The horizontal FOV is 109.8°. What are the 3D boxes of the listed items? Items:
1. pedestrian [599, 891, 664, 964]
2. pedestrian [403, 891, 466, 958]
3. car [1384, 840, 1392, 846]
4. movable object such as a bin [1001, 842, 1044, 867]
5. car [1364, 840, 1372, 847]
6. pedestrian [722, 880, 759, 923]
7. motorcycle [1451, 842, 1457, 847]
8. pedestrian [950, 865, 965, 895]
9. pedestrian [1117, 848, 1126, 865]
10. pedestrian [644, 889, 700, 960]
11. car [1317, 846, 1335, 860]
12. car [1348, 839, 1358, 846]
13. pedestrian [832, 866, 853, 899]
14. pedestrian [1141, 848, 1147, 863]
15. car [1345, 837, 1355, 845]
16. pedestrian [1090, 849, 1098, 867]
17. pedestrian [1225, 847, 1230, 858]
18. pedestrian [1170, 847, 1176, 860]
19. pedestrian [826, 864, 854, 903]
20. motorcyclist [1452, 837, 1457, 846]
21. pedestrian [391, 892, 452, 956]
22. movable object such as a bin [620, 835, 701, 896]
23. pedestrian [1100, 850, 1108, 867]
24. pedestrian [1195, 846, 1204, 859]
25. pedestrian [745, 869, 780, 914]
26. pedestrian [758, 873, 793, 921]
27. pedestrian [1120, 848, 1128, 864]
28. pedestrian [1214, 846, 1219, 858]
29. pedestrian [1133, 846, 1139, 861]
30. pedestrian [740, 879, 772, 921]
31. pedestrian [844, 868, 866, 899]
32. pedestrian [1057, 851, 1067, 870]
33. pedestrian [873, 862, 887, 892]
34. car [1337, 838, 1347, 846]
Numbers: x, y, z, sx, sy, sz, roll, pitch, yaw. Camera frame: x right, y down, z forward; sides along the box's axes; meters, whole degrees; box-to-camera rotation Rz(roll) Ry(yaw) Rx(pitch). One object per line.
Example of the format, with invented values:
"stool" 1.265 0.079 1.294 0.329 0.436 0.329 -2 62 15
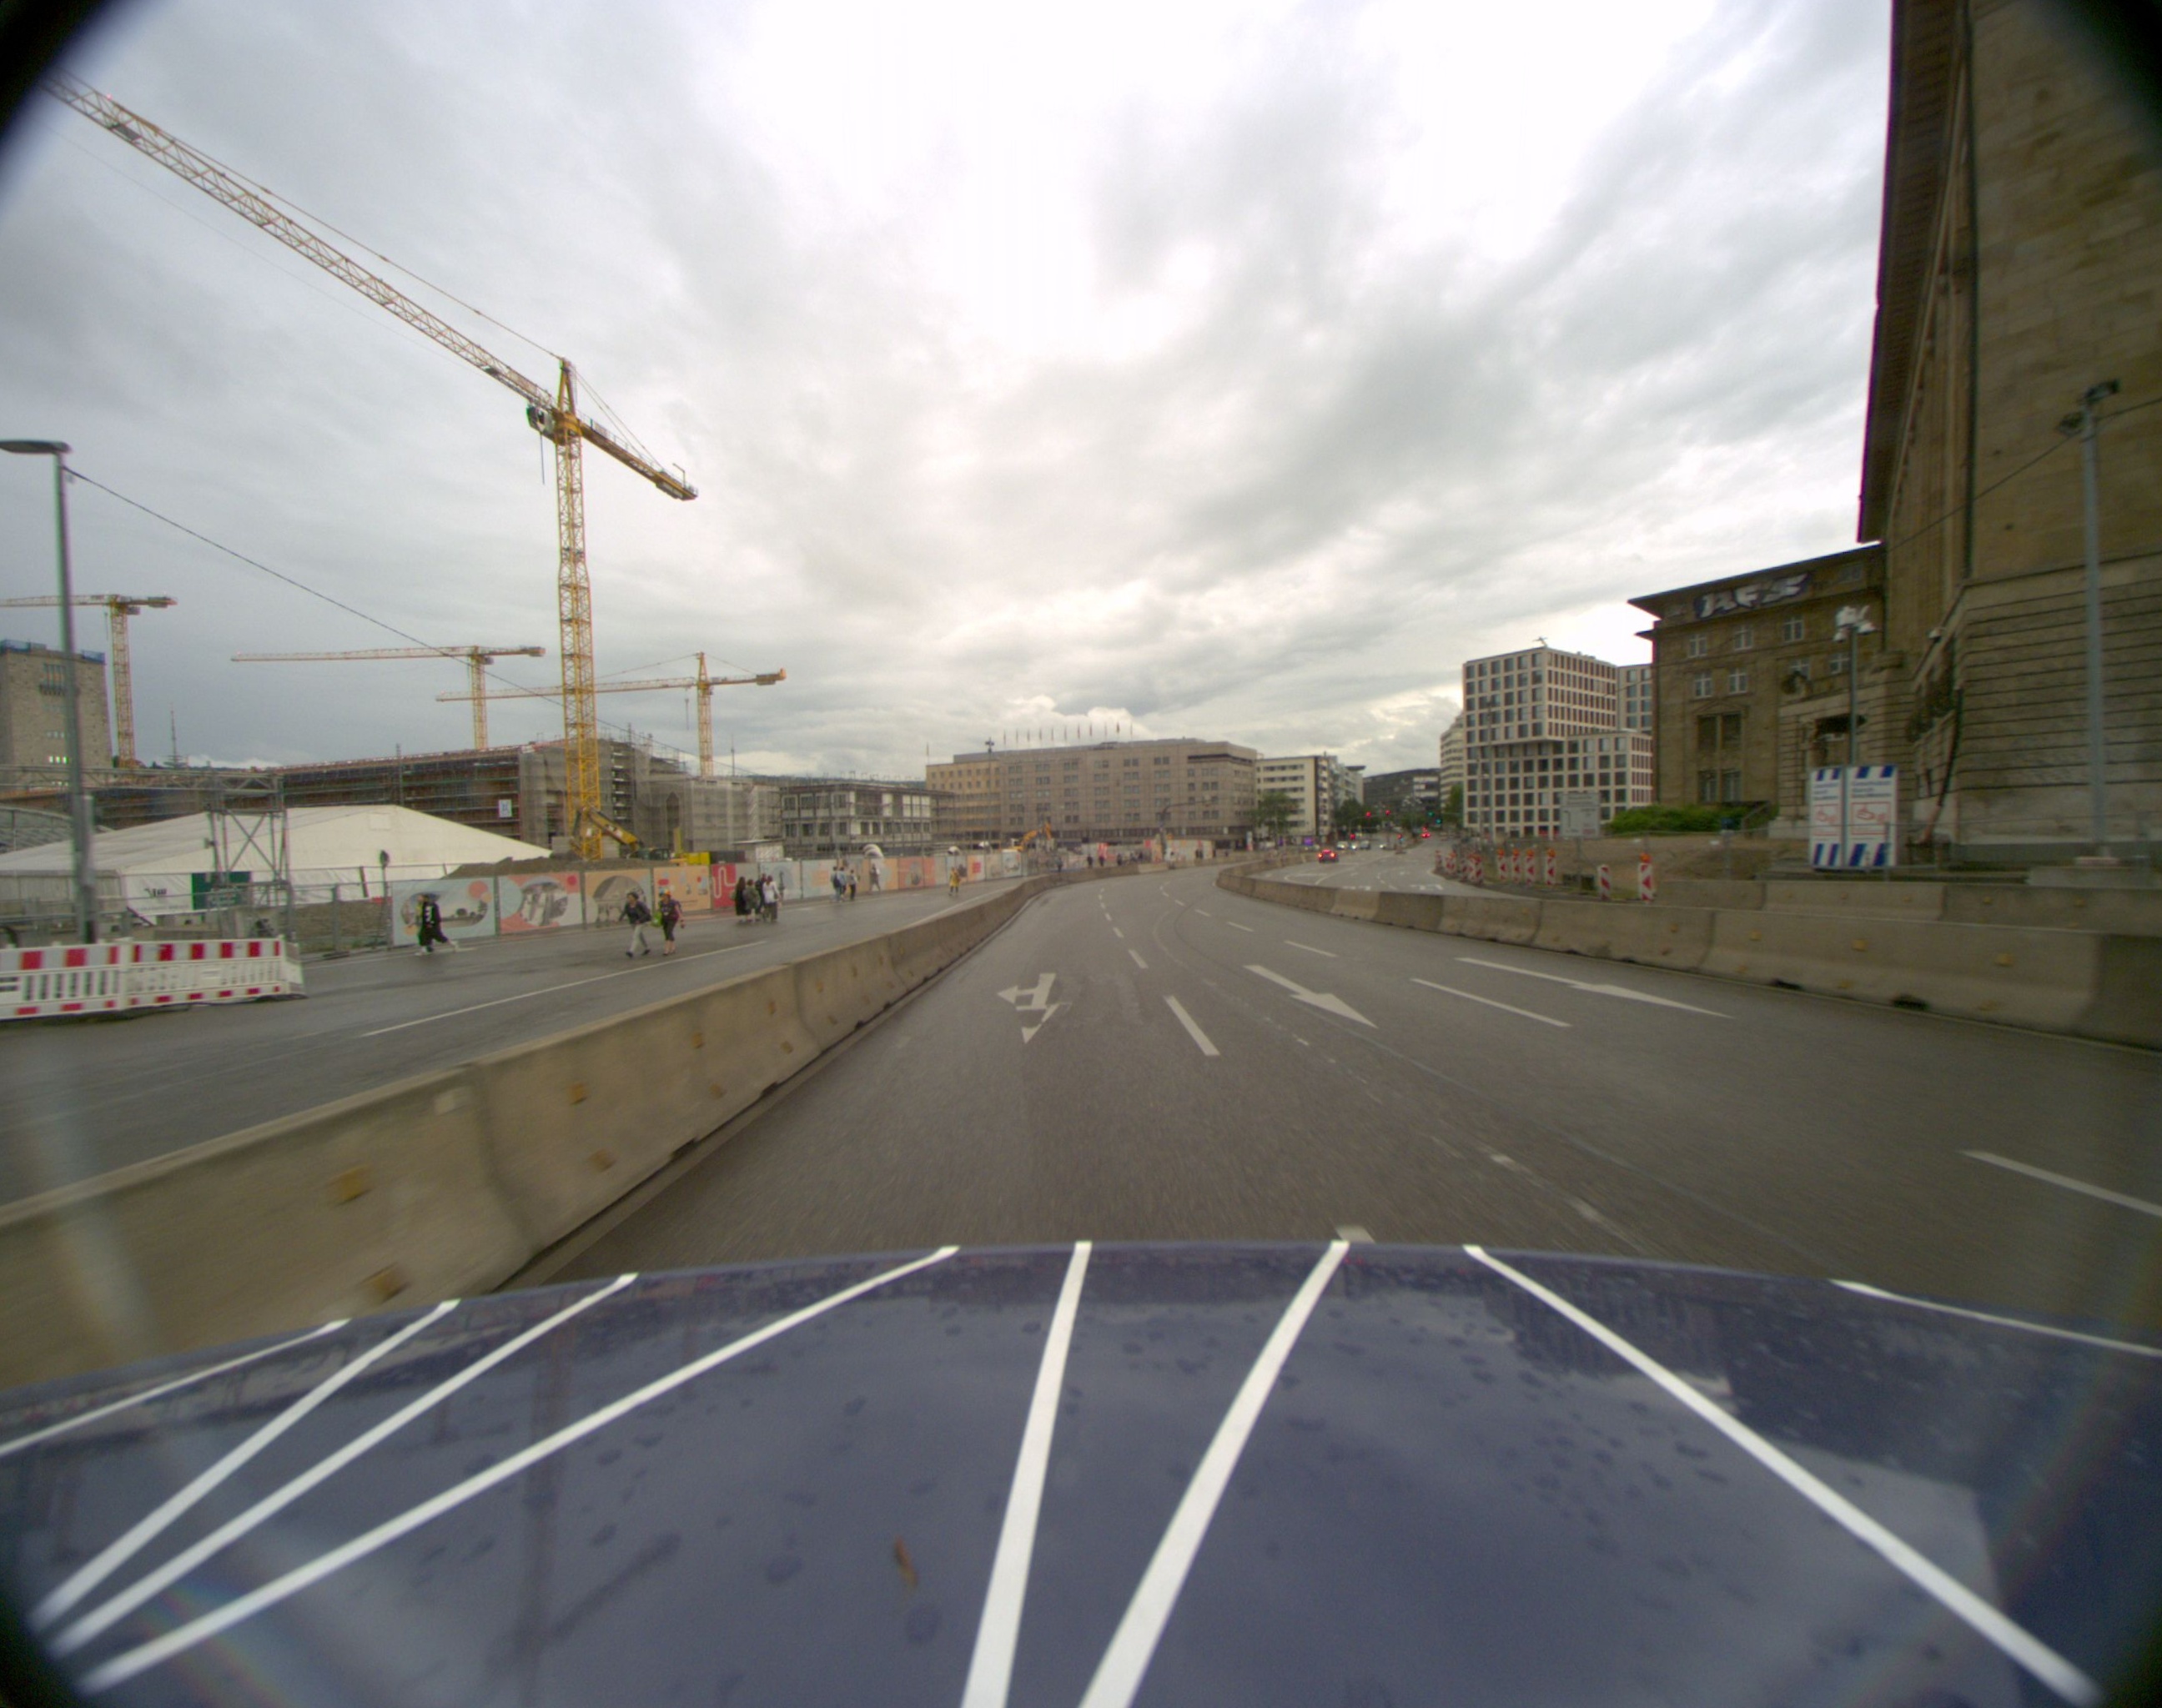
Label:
"pedestrian" -10.567 1.698 17.890 0.861 1.584 0.954 -1 2 27
"pedestrian" -17.867 1.931 21.015 0.866 1.716 1.010 0 2 29
"car" 71.433 -2.602 176.823 1.789 1.445 3.677 -1 1 22
"movable object such as a bin" -6.216 0.074 81.194 4.135 2.521 1.995 -2 2 -35
"car" 65.898 -2.429 174.604 1.706 1.445 3.801 -1 1 22
"pedestrian" -12.891 1.784 28.780 0.715 1.544 1.009 -1 2 19
"motorcycle" 62.088 -1.618 126.410 0.703 0.887 1.825 -1 1 21
"pedestrian" -6.947 1.446 42.815 0.648 1.623 0.907 -1 2 0
"pedestrian" 4.194 0.235 78.229 0.654 1.681 0.777 1 2 24
"pedestrian" -9.634 1.652 17.915 0.732 1.566 0.806 -2 1 27
"car" 27.795 -0.135 86.243 1.768 1.512 4.392 -1 1 20
"car" 63.667 -2.680 177.962 1.995 1.445 4.005 -1 1 22
"pedestrian" -12.390 1.460 39.518 0.647 1.646 0.767 0 2 36
"pedestrian" 7.290 0.197 88.085 0.648 1.751 0.584 1 2 11
"car" 67.146 -3.255 189.596 1.995 1.838 4.005 -1 1 22
"pedestrian" 1.293 0.427 74.239 0.648 1.733 0.766 1 2 13
"pedestrian" 23.286 -0.186 120.842 0.653 1.751 0.549 1 2 11
"pedestrian" 11.916 -0.095 98.078 0.648 1.660 0.766 1 2 11
"pedestrian" -11.817 1.423 37.229 0.818 1.838 0.933 0 2 36
"motorcyclist" 62.053 -2.059 126.329 0.703 1.478 0.964 -1 2 21
"pedestrian" -18.791 1.971 21.649 0.866 1.679 1.010 0 2 29
"movable object such as a bin" -24.685 0.588 44.798 1.941 3.390 4.232 -1 1 7
"pedestrian" 2.244 0.435 74.170 0.648 1.637 0.948 1 2 13
"pedestrian" 17.470 -0.225 111.762 1.097 1.751 0.907 1 2 27
"pedestrian" -13.300 1.571 31.741 0.867 1.807 1.009 -1 2 19
"pedestrian" -11.519 1.614 28.634 0.778 1.713 0.892 -1 2 19
"pedestrian" 4.508 0.220 79.431 0.654 1.681 0.777 1 2 24
"pedestrian" 20.352 -0.343 114.333 0.756 1.751 0.766 1 2 11
"pedestrian" 6.185 -0.046 85.072 0.585 1.698 0.677 1 2 11
"pedestrian" -12.231 1.730 28.592 0.609 1.514 0.886 -1 2 19
"pedestrian" -11.671 1.531 39.230 0.647 1.544 0.767 0 2 36
"pedestrian" -1.734 0.594 68.875 0.746 1.696 0.687 1 2 14
"pedestrian" -11.795 1.368 44.572 0.567 1.738 0.495 -1 2 18
"car" 62.185 -2.917 181.029 1.995 1.814 4.005 -1 1 22
